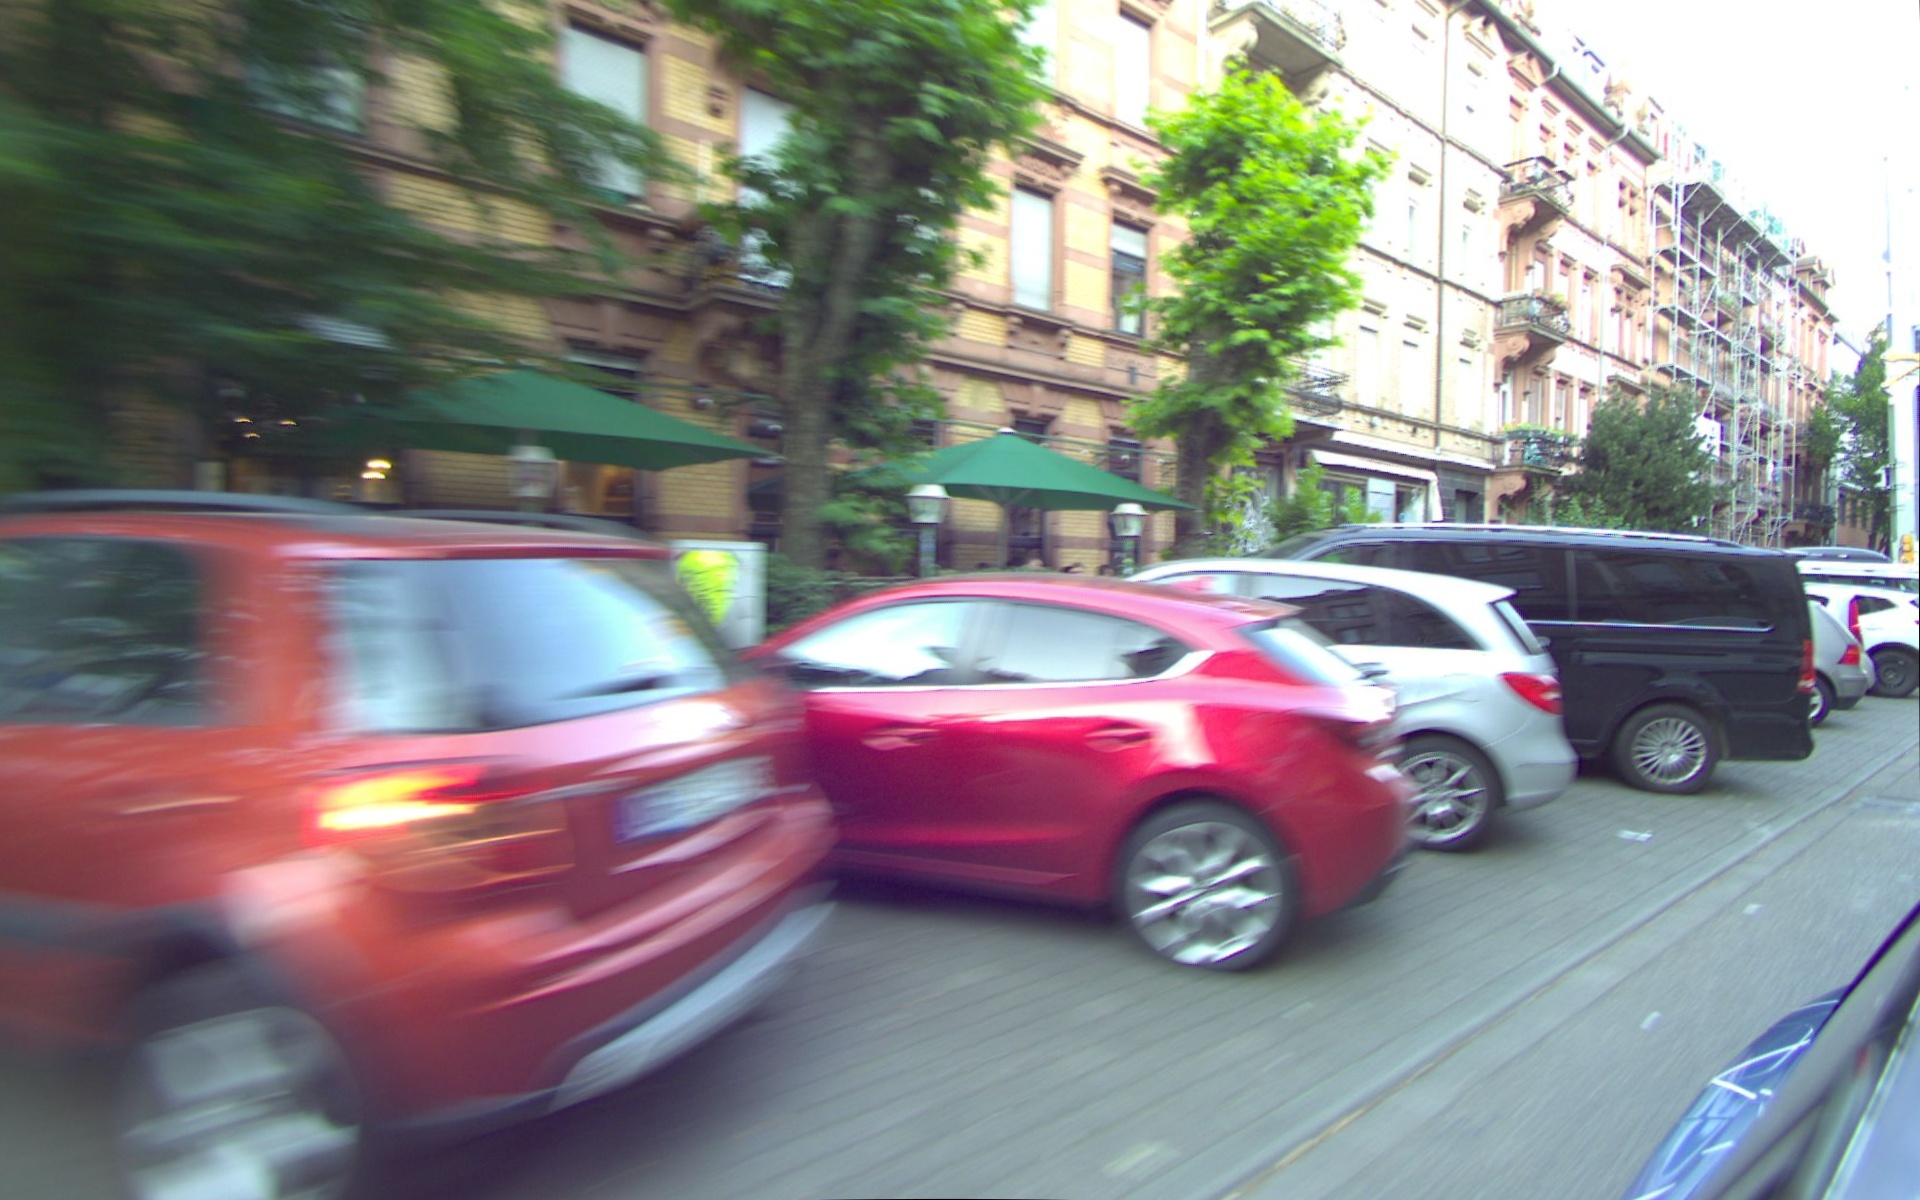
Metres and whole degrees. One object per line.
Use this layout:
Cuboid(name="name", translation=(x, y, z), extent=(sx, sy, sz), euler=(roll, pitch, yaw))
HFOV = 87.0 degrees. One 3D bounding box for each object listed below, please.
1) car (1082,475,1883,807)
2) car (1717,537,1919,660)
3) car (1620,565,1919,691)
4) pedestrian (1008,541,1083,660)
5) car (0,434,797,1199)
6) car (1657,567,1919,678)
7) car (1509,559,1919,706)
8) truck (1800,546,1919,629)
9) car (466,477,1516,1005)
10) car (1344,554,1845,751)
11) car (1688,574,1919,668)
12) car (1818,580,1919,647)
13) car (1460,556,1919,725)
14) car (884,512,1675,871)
Cuboid(name="car", translation=(3.849, 0.179, 8.503), extent=(5.356, 2.097, 1.926), euler=(4, 3, 13))
Cuboid(name="car", translation=(19.054, -0.041, 21.048), extent=(4.888, 2.391, 1.983), euler=(2, 2, 25))
Cuboid(name="car", translation=(12.815, 0.378, 15.547), extent=(4.059, 1.610, 1.807), euler=(4, 3, 20))
Cuboid(name="pedestrian", translation=(1.036, -0.006, 12.222), extent=(0.685, 1.383, 0.588), euler=(-1, 0, -43))
Cuboid(name="car", translation=(-2.711, 0.431, 3.174), extent=(3.998, 1.648, 1.682), euler=(3, 1, 20))
Cuboid(name="car", translation=(14.869, 0.365, 17.571), extent=(4.116, 1.610, 1.873), euler=(4, 2, 20))
Cuboid(name="car", translation=(10.102, 0.350, 13.893), extent=(4.048, 1.610, 1.812), euler=(4, 3, 13))
Cuboid(name="truck", translation=(36.972, -0.492, 39.123), extent=(2.477, 3.115, 6.500), euler=(-1, 1, -36))
Cuboid(name="car", translation=(0.062, 0.408, 4.953), extent=(4.161, 1.708, 1.927), euler=(4, 3, 13))
Cuboid(name="car", translation=(6.305, 0.418, 10.676), extent=(4.058, 1.570, 1.807), euler=(4, 3, 20))
Cuboid(name="car", translation=(16.751, 0.365, 19.405), extent=(4.119, 1.610, 1.872), euler=(2, 2, 23))
Cuboid(name="car", translation=(23.411, 0.339, 24.332), extent=(3.828, 1.535, 1.832), euler=(2, 2, 25))
Cuboid(name="car", translation=(8.455, 0.376, 12.202), extent=(4.058, 1.570, 1.807), euler=(4, 3, 20))
Cuboid(name="car", translation=(1.819, 0.377, 6.633), extent=(4.169, 1.642, 1.923), euler=(4, 3, 18))
